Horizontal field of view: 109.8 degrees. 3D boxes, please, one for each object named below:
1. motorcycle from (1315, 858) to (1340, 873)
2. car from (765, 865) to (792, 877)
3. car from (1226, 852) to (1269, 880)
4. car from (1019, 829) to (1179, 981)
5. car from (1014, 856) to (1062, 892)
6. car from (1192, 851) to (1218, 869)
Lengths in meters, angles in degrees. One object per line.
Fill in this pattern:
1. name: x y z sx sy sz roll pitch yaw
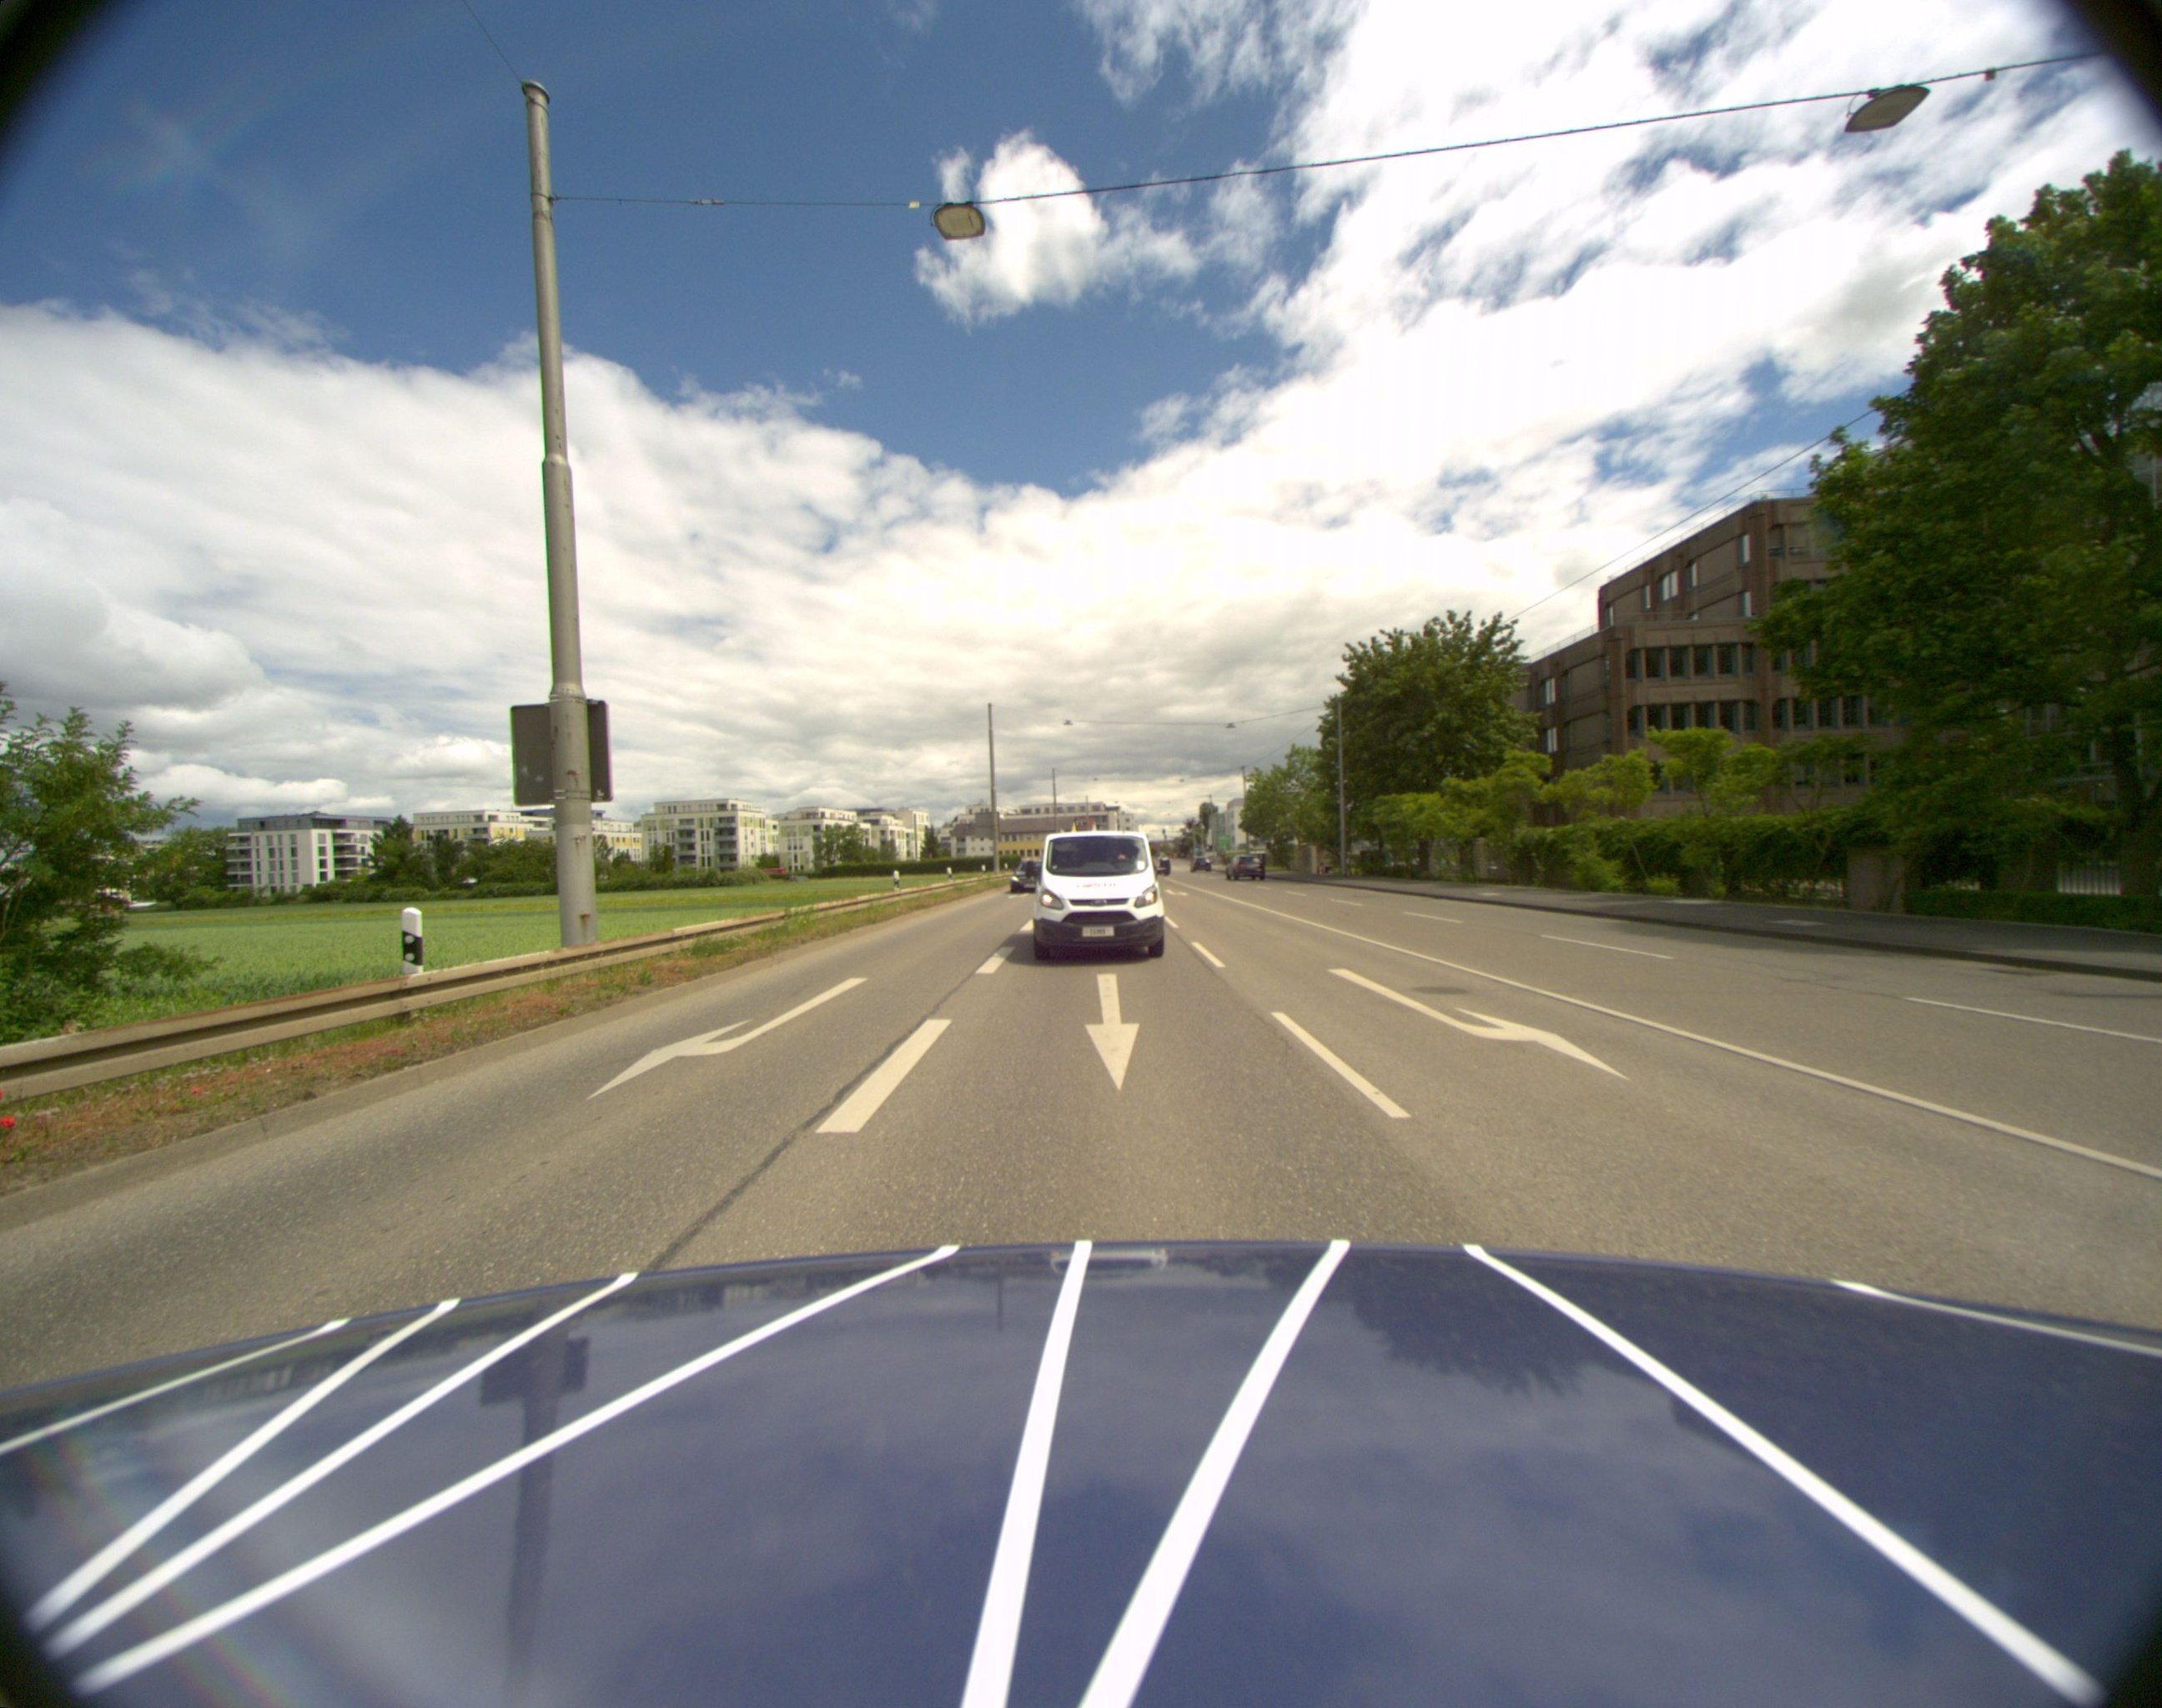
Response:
1. motorcycle: 21.809 0.997 67.284 1.905 1.237 0.746 -2 1 1
2. car: -58.912 3.282 148.158 4.436 2.002 2.000 -2 1 2
3. car: 10.569 0.709 48.385 1.872 1.605 4.572 -2 1 2
4. car: 0.277 0.662 12.733 1.998 1.906 5.882 -2 0 1
5. car: -1.939 0.953 35.609 1.843 1.528 4.807 -2 -2 1
6. car: 11.891 0.556 72.850 1.801 1.576 4.313 -3 1 1
